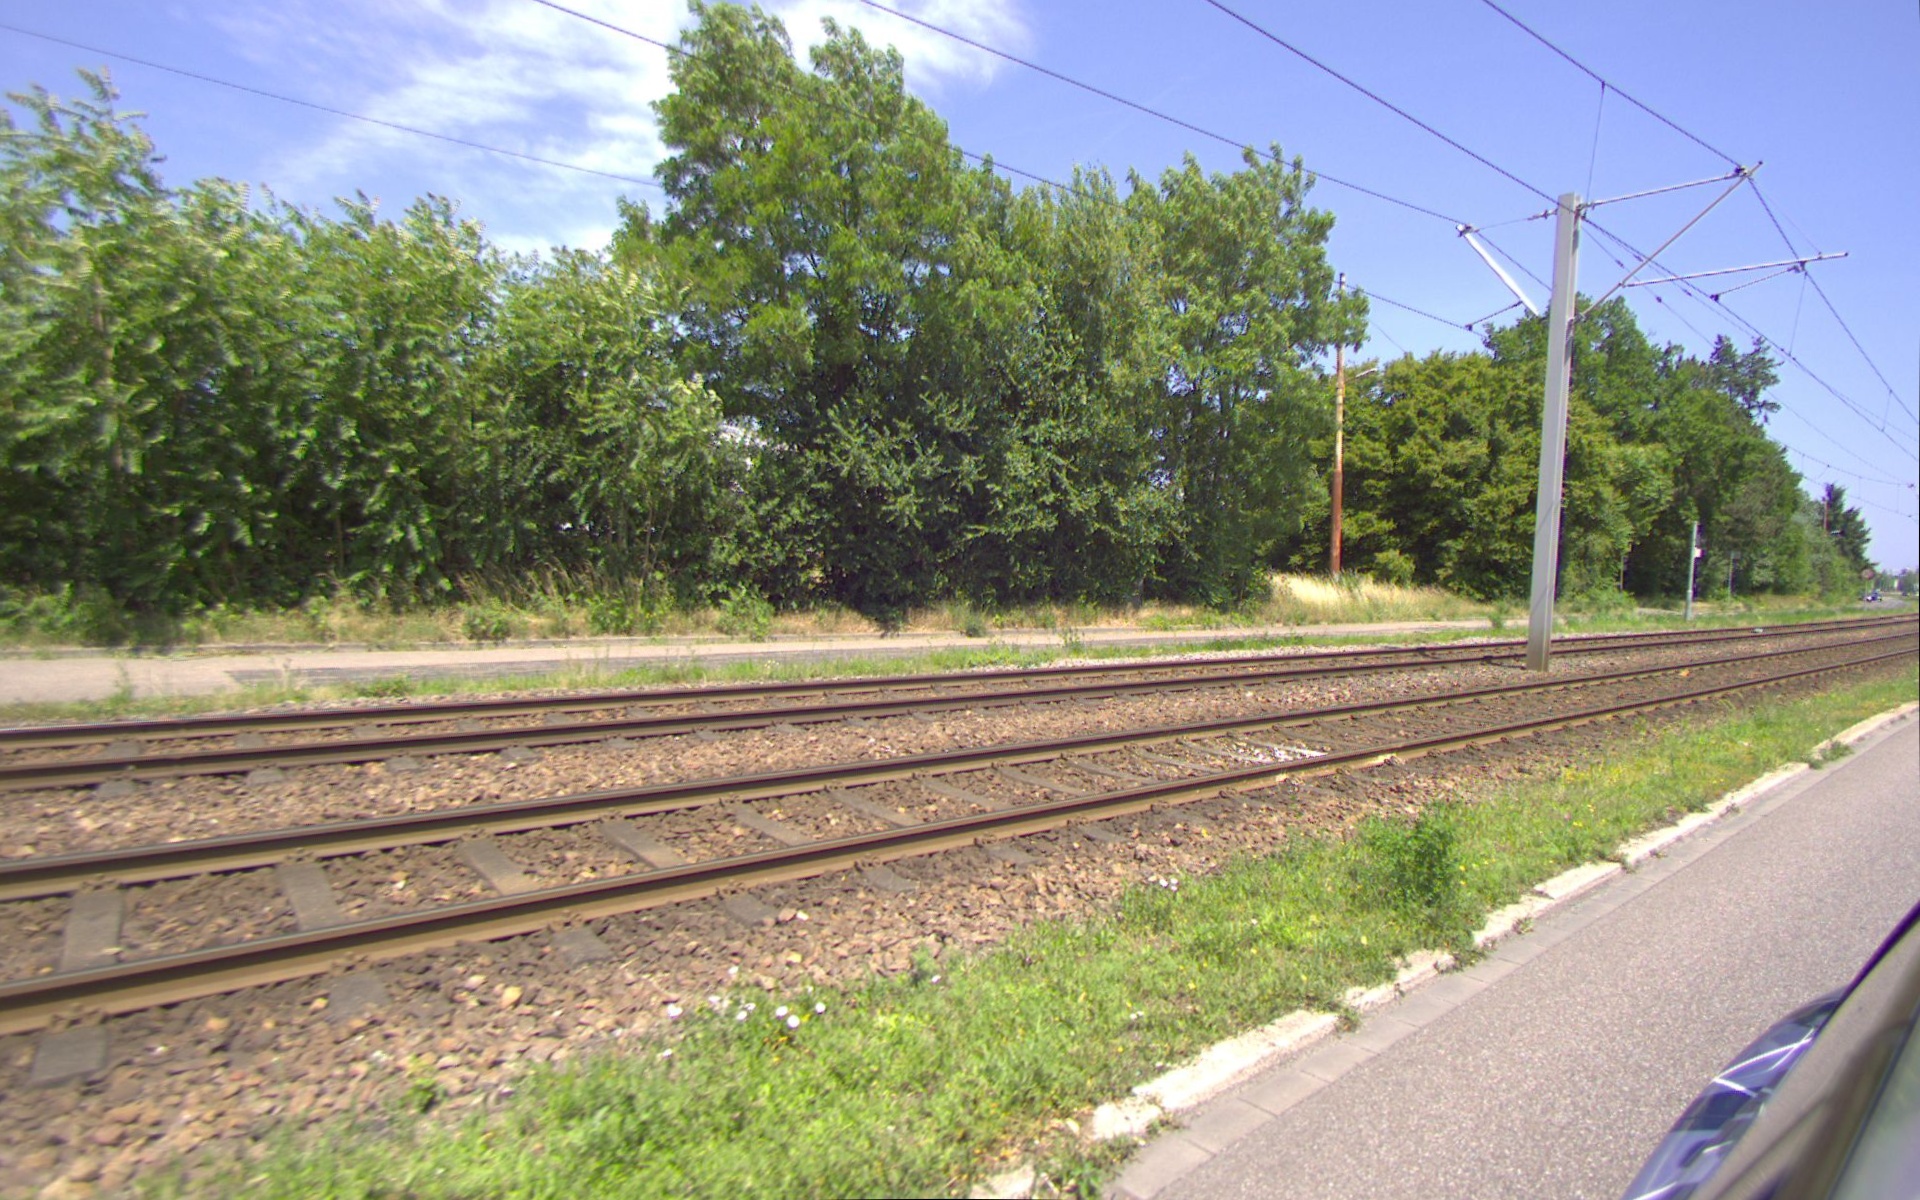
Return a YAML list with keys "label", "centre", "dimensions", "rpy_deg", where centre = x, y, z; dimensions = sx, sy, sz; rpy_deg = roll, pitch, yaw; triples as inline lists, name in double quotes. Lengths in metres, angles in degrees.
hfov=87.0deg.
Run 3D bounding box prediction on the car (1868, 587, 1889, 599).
- label: "car"
  centre: [131.812, -1.051, 145.185]
  dimensions: [3.934, 1.742, 1.995]
  rpy_deg: [-1, 1, -43]
